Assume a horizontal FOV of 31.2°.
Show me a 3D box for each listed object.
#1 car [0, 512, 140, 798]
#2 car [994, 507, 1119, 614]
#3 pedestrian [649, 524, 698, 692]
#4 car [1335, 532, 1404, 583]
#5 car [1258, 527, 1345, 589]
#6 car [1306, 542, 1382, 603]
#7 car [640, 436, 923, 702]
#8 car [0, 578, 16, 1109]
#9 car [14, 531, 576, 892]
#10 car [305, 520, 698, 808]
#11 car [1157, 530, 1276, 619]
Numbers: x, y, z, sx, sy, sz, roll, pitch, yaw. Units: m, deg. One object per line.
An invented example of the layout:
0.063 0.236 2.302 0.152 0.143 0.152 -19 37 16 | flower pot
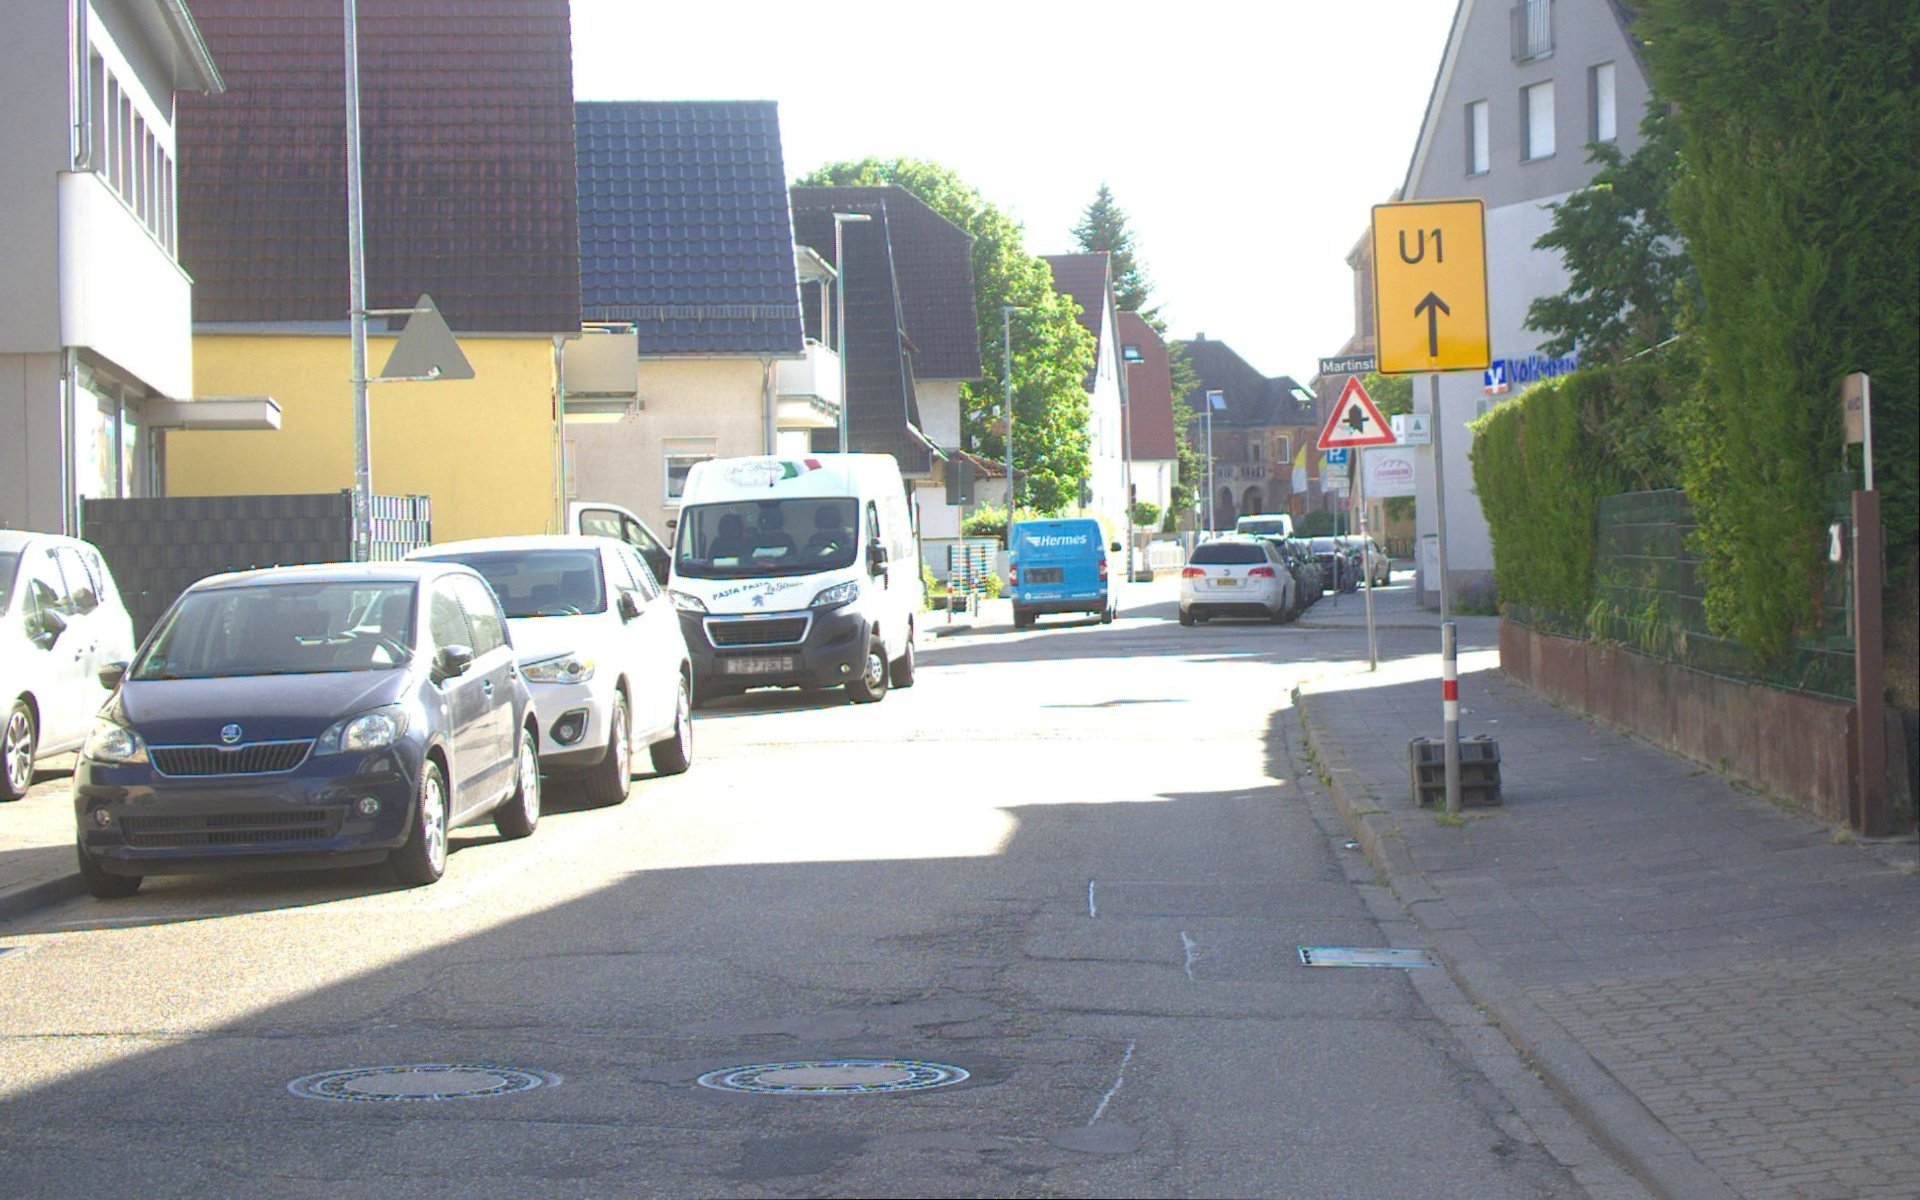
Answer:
-6.321 0.260 21.086 1.721 1.590 4.017 1 1 -2 | car
1.713 -0.757 62.467 1.920 1.795 4.781 -2 2 -2 | car
-2.798 0.081 33.600 0.358 1.620 0.570 -1 -1 5 | pedestrian
12.604 -1.302 105.737 1.845 1.408 3.998 1 -1 10 | car
8.579 -1.041 86.163 1.845 1.408 3.998 1 -1 10 | car
10.802 -0.761 96.556 1.931 1.565 3.998 1 -1 9 | car
-1.688 -0.330 34.454 2.077 2.386 5.208 -2 1 5 | car
-3.408 0.701 7.423 1.638 1.436 4.075 -2 1 -1 | car
-3.133 0.461 17.038 1.704 1.513 4.121 -2 1 4 | car
-2.743 0.325 21.392 1.673 1.566 3.965 -2 1 3 | car
4.392 -0.418 59.321 1.844 1.408 3.999 1 -1 2 | car
